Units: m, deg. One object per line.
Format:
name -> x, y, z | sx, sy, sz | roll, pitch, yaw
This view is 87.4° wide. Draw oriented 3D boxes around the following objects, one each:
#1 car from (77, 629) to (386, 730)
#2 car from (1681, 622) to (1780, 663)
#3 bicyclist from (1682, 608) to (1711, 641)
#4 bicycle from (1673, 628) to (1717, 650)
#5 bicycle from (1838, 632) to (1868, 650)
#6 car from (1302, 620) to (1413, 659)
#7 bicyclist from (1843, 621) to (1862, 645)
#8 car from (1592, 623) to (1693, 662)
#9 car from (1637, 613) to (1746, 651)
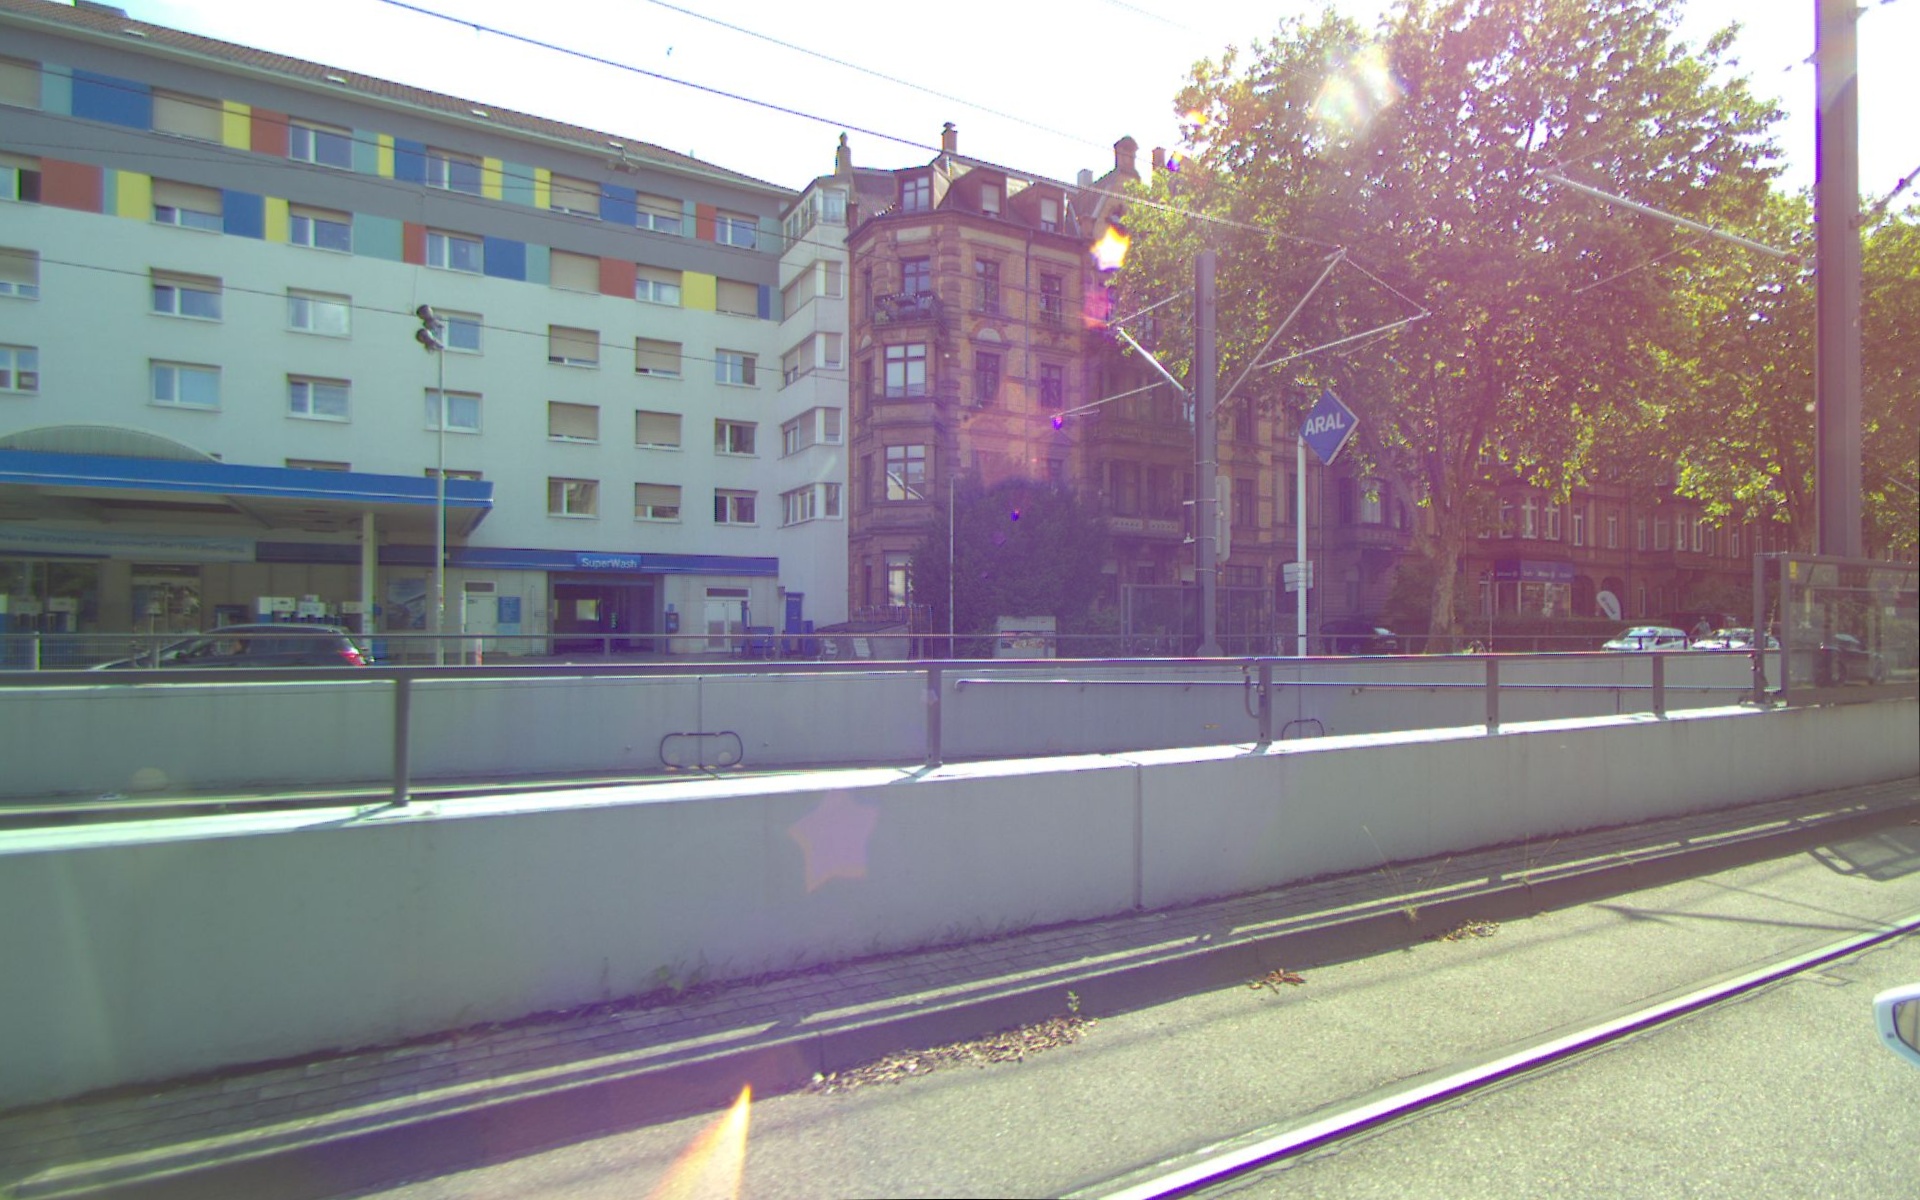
car -> -11.453, 1.203, 16.127 | 3.730, 1.435, 1.664 | 0, -1, -25
car -> 29.888, 1.636, 38.939 | 3.955, 1.501, 1.636 | 1, -4, -30
bicyclist -> 32.639, 1.092, 44.532 | 1.032, 1.475, 0.685 | 1, -1, -30
bicycle -> 32.559, 1.725, 44.481 | 2.340, 0.925, 0.668 | 1, -1, -30
bicycle -> 46.744, 2.122, 52.581 | 2.123, 0.925, 0.532 | 1, -1, -30
car -> 16.248, 1.573, 41.218 | 1.974, 1.503, 3.973 | 1, -1, -27
bicyclist -> 46.744, 1.739, 52.588 | 0.715, 1.248, 0.532 | 1, -1, -30
car -> 24.239, 1.495, 35.663 | 3.447, 1.320, 1.492 | 0, -4, -28
car -> 39.555, 1.701, 54.442 | 1.977, 1.943, 4.380 | 1, -1, -30
